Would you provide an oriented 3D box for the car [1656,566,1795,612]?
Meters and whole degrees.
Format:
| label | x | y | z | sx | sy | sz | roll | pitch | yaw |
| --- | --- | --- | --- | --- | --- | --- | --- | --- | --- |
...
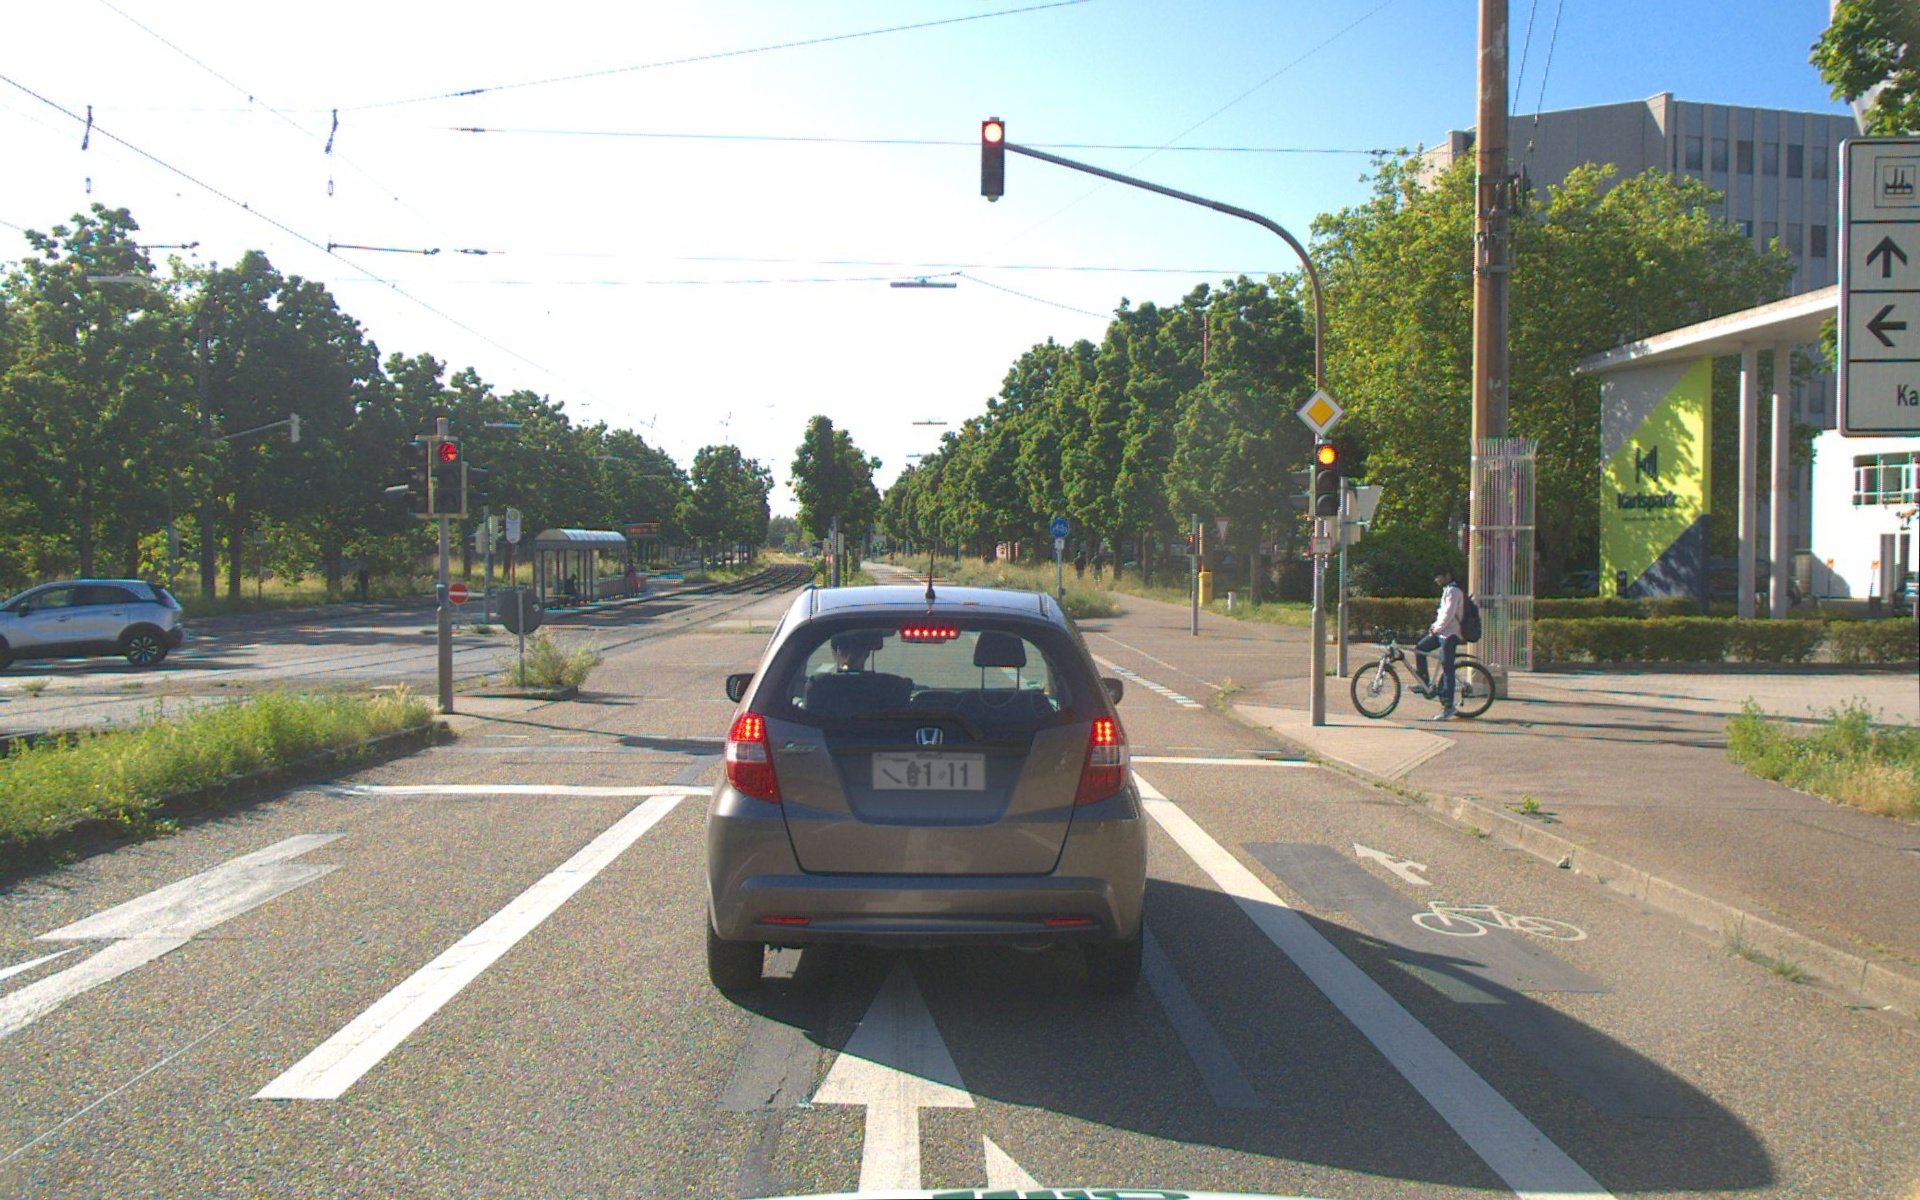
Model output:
| label | x | y | z | sx | sy | sz | roll | pitch | yaw |
| --- | --- | --- | --- | --- | --- | --- | --- | --- | --- |
| car | 28.092 | -0.404 | 60.733 | 4.459 | 1.658 | 1.870 | 0 | 0 | -14 |

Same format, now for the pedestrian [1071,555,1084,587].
| label | x | y | z | sx | sy | sz | roll | pitch | yaw |
| --- | --- | --- | --- | --- | --- | --- | --- | --- | --- |
| pedestrian | 5.982 | -1.479 | 84.251 | 0.556 | 1.624 | 0.665 | 1 | 0 | -5 |

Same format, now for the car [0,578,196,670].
| label | x | y | z | sx | sy | sz | roll | pitch | yaw |
| --- | --- | --- | --- | --- | --- | --- | --- | --- | --- |
| car | -16.546 | 0.421 | 30.579 | 4.176 | 1.634 | 1.847 | 0 | 0 | -19 |

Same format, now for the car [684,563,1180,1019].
| label | x | y | z | sx | sy | sz | roll | pitch | yaw |
| --- | --- | --- | --- | --- | --- | --- | --- | --- | --- |
| car | -0.099 | 0.638 | 7.645 | 1.672 | 1.535 | 4.000 | 1 | 0 | 0 |

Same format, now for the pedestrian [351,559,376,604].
| label | x | y | z | sx | sy | sz | roll | pitch | yaw |
| --- | --- | --- | --- | --- | --- | --- | --- | --- | --- |
| pedestrian | -27.357 | -0.855 | 75.840 | 0.823 | 2.049 | 0.863 | 0 | 0 | -3 |

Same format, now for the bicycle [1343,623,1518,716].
| label | x | y | z | sx | sy | sz | roll | pitch | yaw |
| --- | --- | --- | --- | --- | --- | --- | --- | --- | --- |
| bicycle | 5.529 | 0.815 | 19.535 | 1.879 | 1.015 | 0.765 | -2 | 0 | 10 |

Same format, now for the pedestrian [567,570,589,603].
| label | x | y | z | sx | sy | sz | roll | pitch | yaw |
| --- | --- | --- | --- | --- | --- | --- | --- | --- | --- |
| pedestrian | -15.120 | -0.538 | 65.436 | 0.706 | 1.267 | 0.710 | -1 | 1 | -3 |

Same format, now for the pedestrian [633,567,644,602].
| label | x | y | z | sx | sy | sz | roll | pitch | yaw |
| --- | --- | --- | --- | --- | --- | --- | --- | --- | --- |
| pedestrian | -15.538 | -0.741 | 79.973 | 0.493 | 1.705 | 0.387 | 0 | 0 | -12 |

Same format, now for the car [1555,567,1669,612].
| label | x | y | z | sx | sy | sz | roll | pitch | yaw |
| --- | --- | --- | --- | --- | --- | --- | --- | --- | --- |
| car | 26.678 | -0.443 | 67.747 | 3.919 | 1.788 | 1.993 | 0 | 1 | -14 |

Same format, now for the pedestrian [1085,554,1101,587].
| label | x | y | z | sx | sy | sz | roll | pitch | yaw |
| --- | --- | --- | --- | --- | --- | --- | --- | --- | --- |
| pedestrian | 6.784 | -1.488 | 84.292 | 0.664 | 1.638 | 0.720 | 1 | 0 | -3 |

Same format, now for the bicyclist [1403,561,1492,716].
| label | x | y | z | sx | sy | sz | roll | pitch | yaw |
| --- | --- | --- | --- | --- | --- | --- | --- | --- | --- |
| bicyclist | 5.729 | 0.448 | 19.484 | 0.890 | 1.775 | 0.765 | -1 | 0 | 10 |

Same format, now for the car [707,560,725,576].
| label | x | y | z | sx | sy | sz | roll | pitch | yaw |
| --- | --- | --- | --- | --- | --- | --- | --- | --- | --- |
| car | -28.078 | -3.650 | 190.382 | 1.731 | 1.768 | 3.998 | 0 | 0 | -3 |

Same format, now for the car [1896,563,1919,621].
| label | x | y | z | sx | sy | sz | roll | pitch | yaw |
| --- | --- | --- | --- | --- | --- | --- | --- | --- | --- |
| car | 31.045 | -0.231 | 50.588 | 3.915 | 1.750 | 1.895 | 0 | 1 | -10 |
